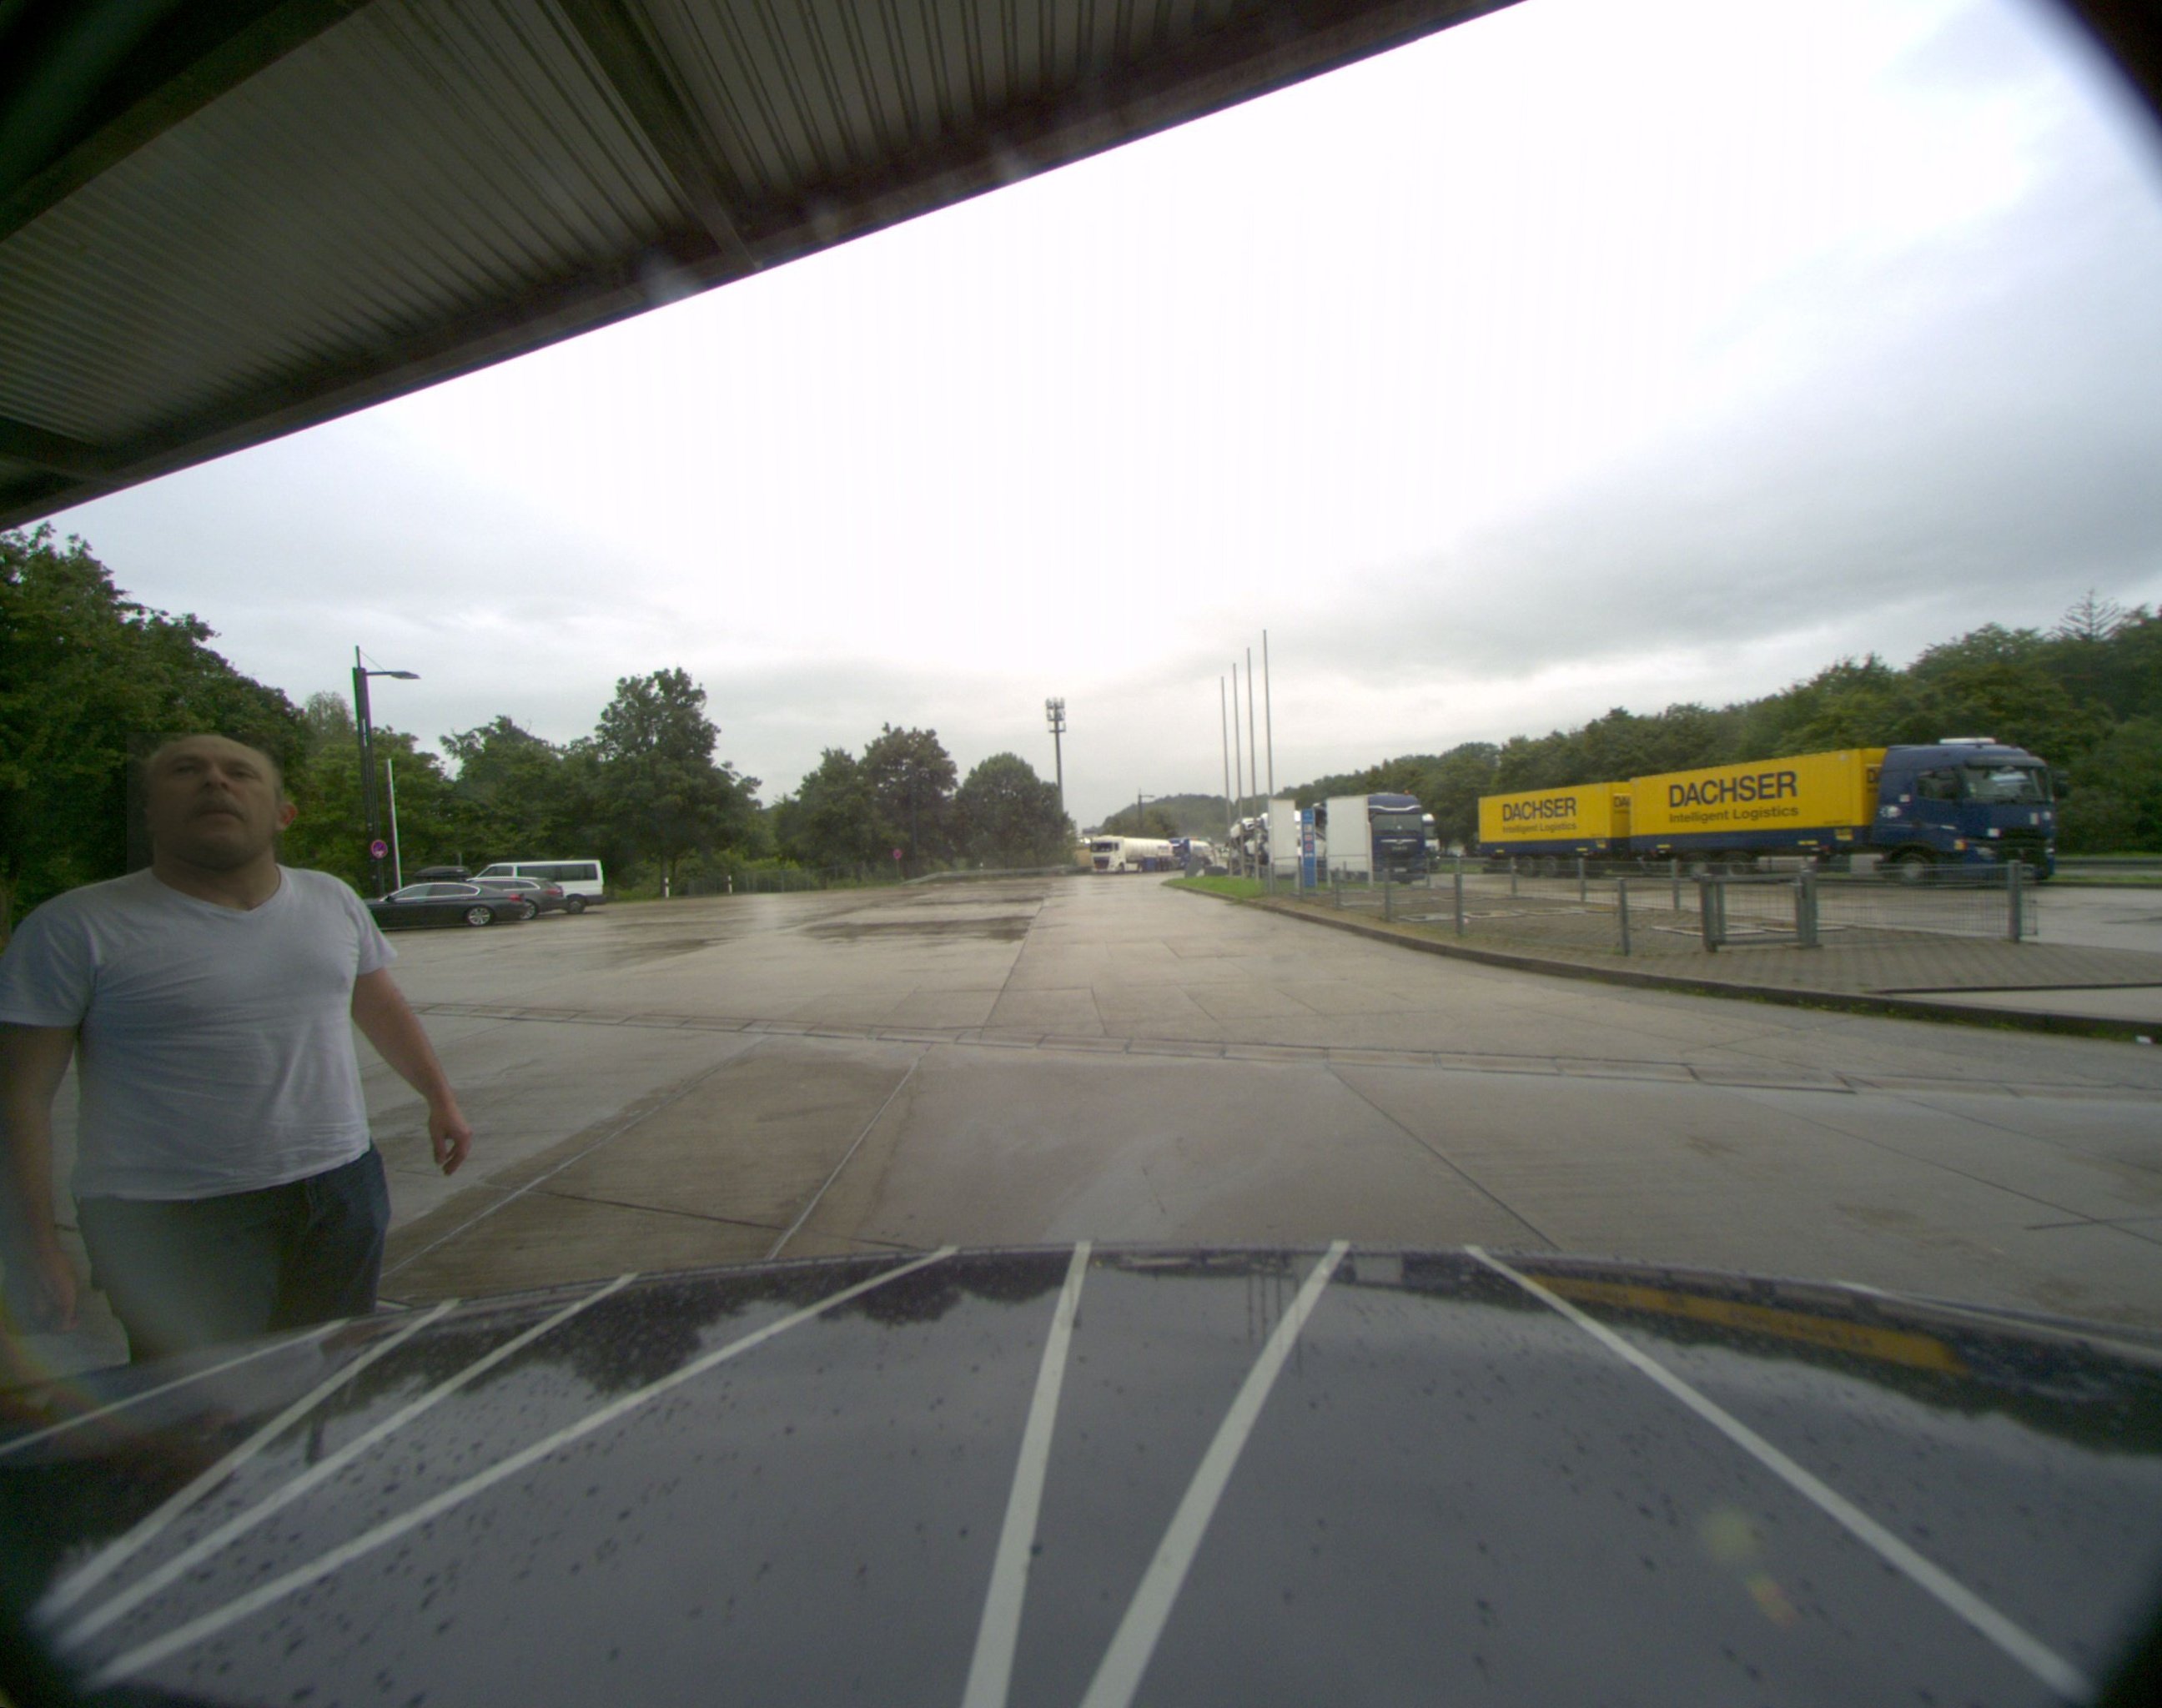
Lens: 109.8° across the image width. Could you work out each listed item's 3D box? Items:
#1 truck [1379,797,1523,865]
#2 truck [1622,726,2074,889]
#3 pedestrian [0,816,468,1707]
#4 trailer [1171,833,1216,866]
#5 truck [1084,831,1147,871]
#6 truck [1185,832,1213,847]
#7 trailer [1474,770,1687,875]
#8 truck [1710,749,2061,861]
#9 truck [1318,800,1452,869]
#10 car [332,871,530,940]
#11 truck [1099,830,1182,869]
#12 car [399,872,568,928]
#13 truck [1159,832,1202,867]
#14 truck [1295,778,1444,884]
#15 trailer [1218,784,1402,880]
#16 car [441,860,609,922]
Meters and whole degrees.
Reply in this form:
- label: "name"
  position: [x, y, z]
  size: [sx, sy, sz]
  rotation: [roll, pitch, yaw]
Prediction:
- label: "truck"
  position: [24.355, -1.406, 50.962]
  size: [2.991, 4.009, 10.464]
  rotation: [-2, 1, -10]
- label: "truck"
  position: [23.055, -1.216, 24.315]
  size: [2.774, 4.009, 10.632]
  rotation: [-2, 1, -8]
- label: "pedestrian"
  position: [-1.743, 0.841, 1.441]
  size: [0.493, 1.800, 0.634]
  rotation: [-2, 2, 10]
- label: "trailer"
  position: [13.662, -0.655, 91.447]
  size: [2.898, 3.618, 10.586]
  rotation: [-2, 1, 22]
- label: "truck"
  position: [3.310, -0.357, 71.444]
  size: [3.243, 3.544, 6.114]
  rotation: [-2, 1, 31]
- label: "truck"
  position: [30.846, -3.728, 199.674]
  size: [3.251, 3.543, 14.657]
  rotation: [-2, 0, -7]
- label: "trailer"
  position: [21.777, -1.277, 33.997]
  size: [2.774, 4.009, 8.853]
  rotation: [-2, 1, -8]
- label: "truck"
  position: [33.768, -1.823, 32.938]
  size: [2.991, 4.009, 10.464]
  rotation: [-2, 1, -10]
- label: "truck"
  position: [19.752, -1.222, 50.438]
  size: [2.991, 4.009, 10.464]
  rotation: [-2, 1, -10]
- label: "car"
  position: [-19.128, 1.452, 22.647]
  size: [4.187, 1.720, 1.995]
  rotation: [-2, 0, -33]
- label: "truck"
  position: [6.193, -0.525, 76.355]
  size: [3.243, 3.544, 11.995]
  rotation: [-2, 1, 31]
- label: "car"
  position: [-19.660, 1.455, 25.288]
  size: [4.187, 1.547, 1.995]
  rotation: [-2, 0, -33]
- label: "truck"
  position: [11.321, -0.528, 85.740]
  size: [3.045, 3.745, 6.475]
  rotation: [-2, 1, 23]
- label: "truck"
  position: [12.297, -0.924, 33.253]
  size: [2.990, 4.009, 7.259]
  rotation: [-2, 1, -7]
- label: "trailer"
  position: [11.368, -1.000, 40.945]
  size: [2.990, 4.009, 16.597]
  rotation: [-2, 1, -7]
- label: "car"
  position: [-20.269, 1.284, 27.919]
  size: [4.780, 1.974, 2.010]
  rotation: [-2, 0, -36]
